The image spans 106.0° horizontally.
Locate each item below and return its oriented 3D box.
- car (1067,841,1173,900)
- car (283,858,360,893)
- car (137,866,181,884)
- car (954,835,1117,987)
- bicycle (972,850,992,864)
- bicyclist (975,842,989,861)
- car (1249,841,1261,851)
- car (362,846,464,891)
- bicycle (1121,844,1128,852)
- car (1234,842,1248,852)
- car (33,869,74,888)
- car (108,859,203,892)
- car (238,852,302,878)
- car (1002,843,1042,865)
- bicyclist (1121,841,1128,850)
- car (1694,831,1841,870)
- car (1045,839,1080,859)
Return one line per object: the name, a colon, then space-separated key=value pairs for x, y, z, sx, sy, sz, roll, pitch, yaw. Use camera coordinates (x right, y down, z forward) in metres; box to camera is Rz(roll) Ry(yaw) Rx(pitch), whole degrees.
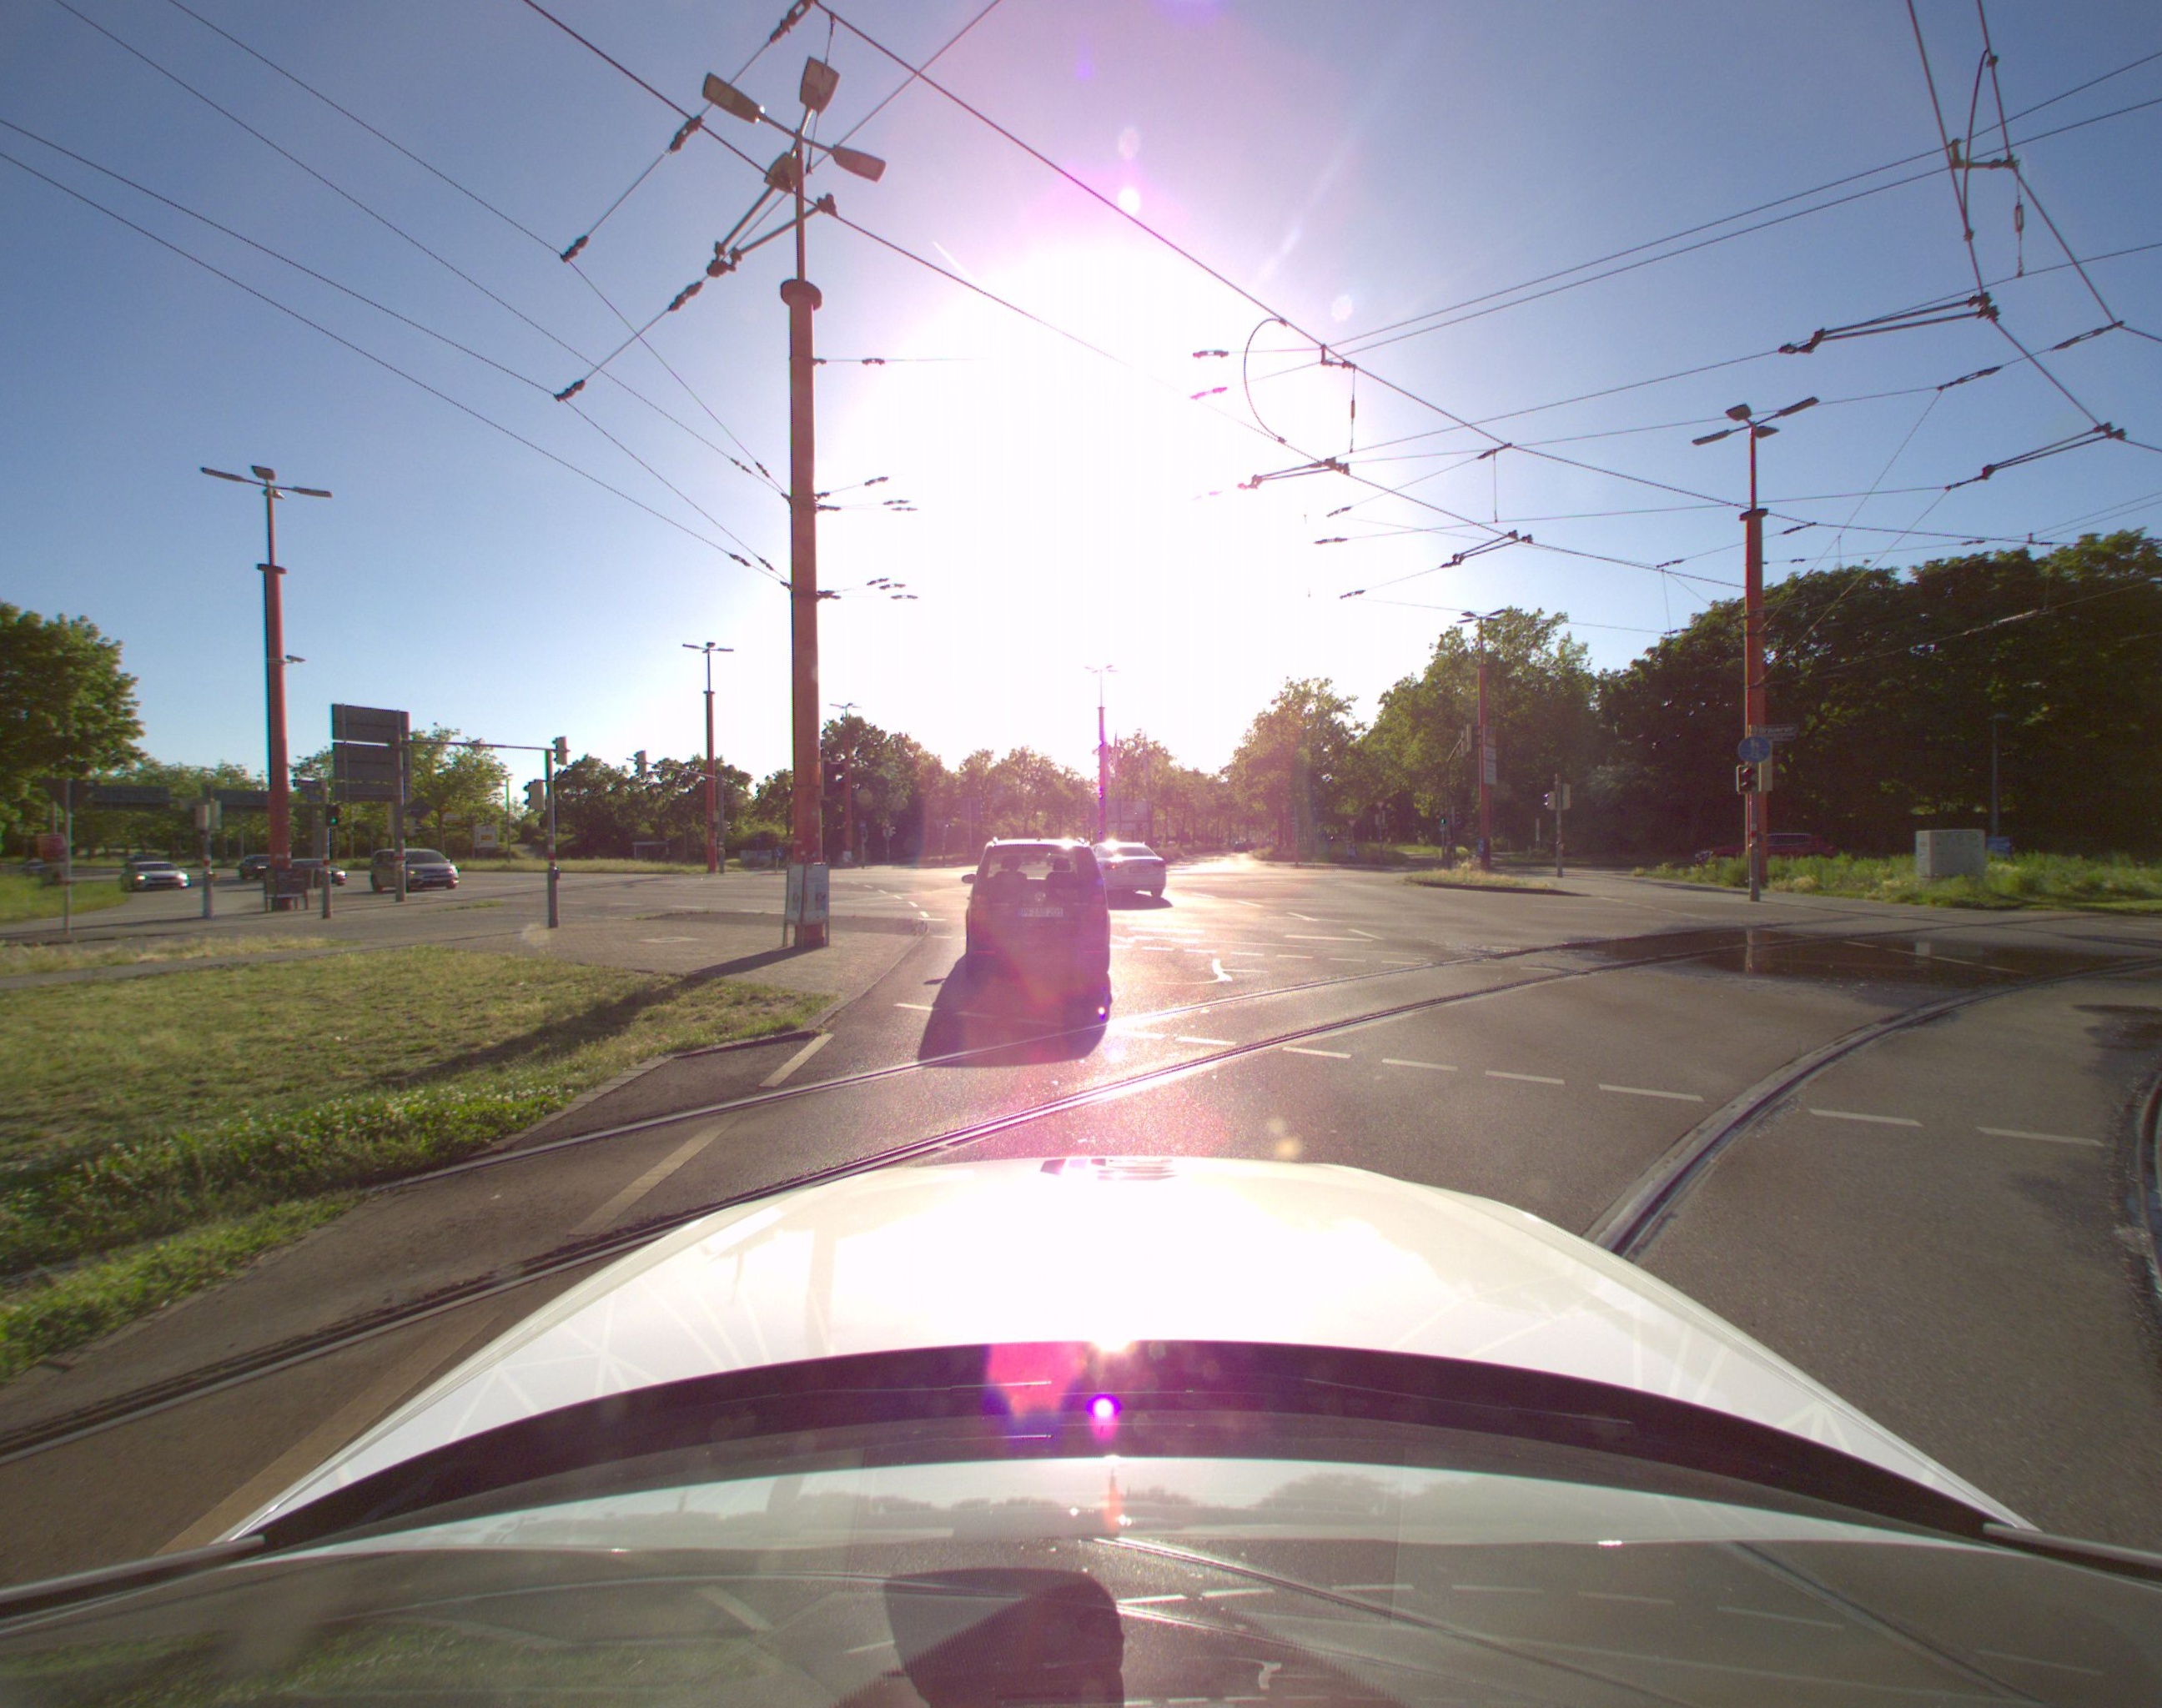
car: x=0.974 y=0.392 z=22.664 sx=1.770 sy=1.464 sz=4.345 roll=-1 pitch=1 yaw=-14
car: x=-36.419 y=0.986 z=39.024 sx=4.506 sy=1.474 sz=1.917 roll=0 pitch=2 yaw=37
car: x=-88.840 y=1.971 z=78.448 sx=4.507 sy=1.565 sz=1.917 roll=-1 pitch=2 yaw=31
car: x=-0.603 y=0.593 z=11.404 sx=1.763 sy=1.644 sz=4.919 roll=-1 pitch=1 yaw=-3
bicycle: x=-8.124 y=0.235 z=66.875 sx=0.757 sy=1.091 sz=2.026 roll=-1 pitch=1 yaw=21
bicyclist: x=-8.118 y=-0.202 z=66.950 sx=0.752 sy=1.557 sz=0.986 roll=-1 pitch=1 yaw=20
car: x=29.846 y=-1.383 z=139.649 sx=1.860 sy=1.627 sz=4.012 roll=1 pitch=0 yaw=10
car: x=-28.610 y=0.590 z=34.882 sx=4.389 sy=1.775 sz=1.917 roll=-1 pitch=2 yaw=31
bicycle: x=6.798 y=-0.937 z=127.184 sx=0.729 sy=1.091 sz=2.024 roll=-1 pitch=0 yaw=17
car: x=21.574 y=-0.975 z=109.638 sx=1.778 sy=1.387 sz=4.063 roll=0 pitch=1 yaw=11
car: x=-95.162 y=2.242 z=75.394 sx=4.506 sy=1.610 sz=1.917 roll=0 pitch=2 yaw=34
car: x=-48.016 y=1.105 z=42.256 sx=4.209 sy=1.550 sz=1.915 roll=-1 pitch=2 yaw=22
car: x=-54.908 y=0.730 z=55.105 sx=4.507 sy=1.610 sz=1.917 roll=-1 pitch=2 yaw=31
car: x=-4.786 y=-0.036 z=66.472 sx=1.889 sy=1.726 sz=4.671 roll=0 pitch=1 yaw=14
bicyclist: x=6.819 y=-1.314 z=127.264 sx=0.729 sy=1.436 sz=0.970 roll=-1 pitch=0 yaw=17
car: x=27.282 y=-0.142 z=32.578 sx=4.234 sy=1.495 sz=2.013 roll=0 pitch=1 yaw=31
car: x=-1.399 y=-0.394 z=63.999 sx=1.755 sy=1.538 sz=4.106 roll=0 pitch=1 yaw=13
